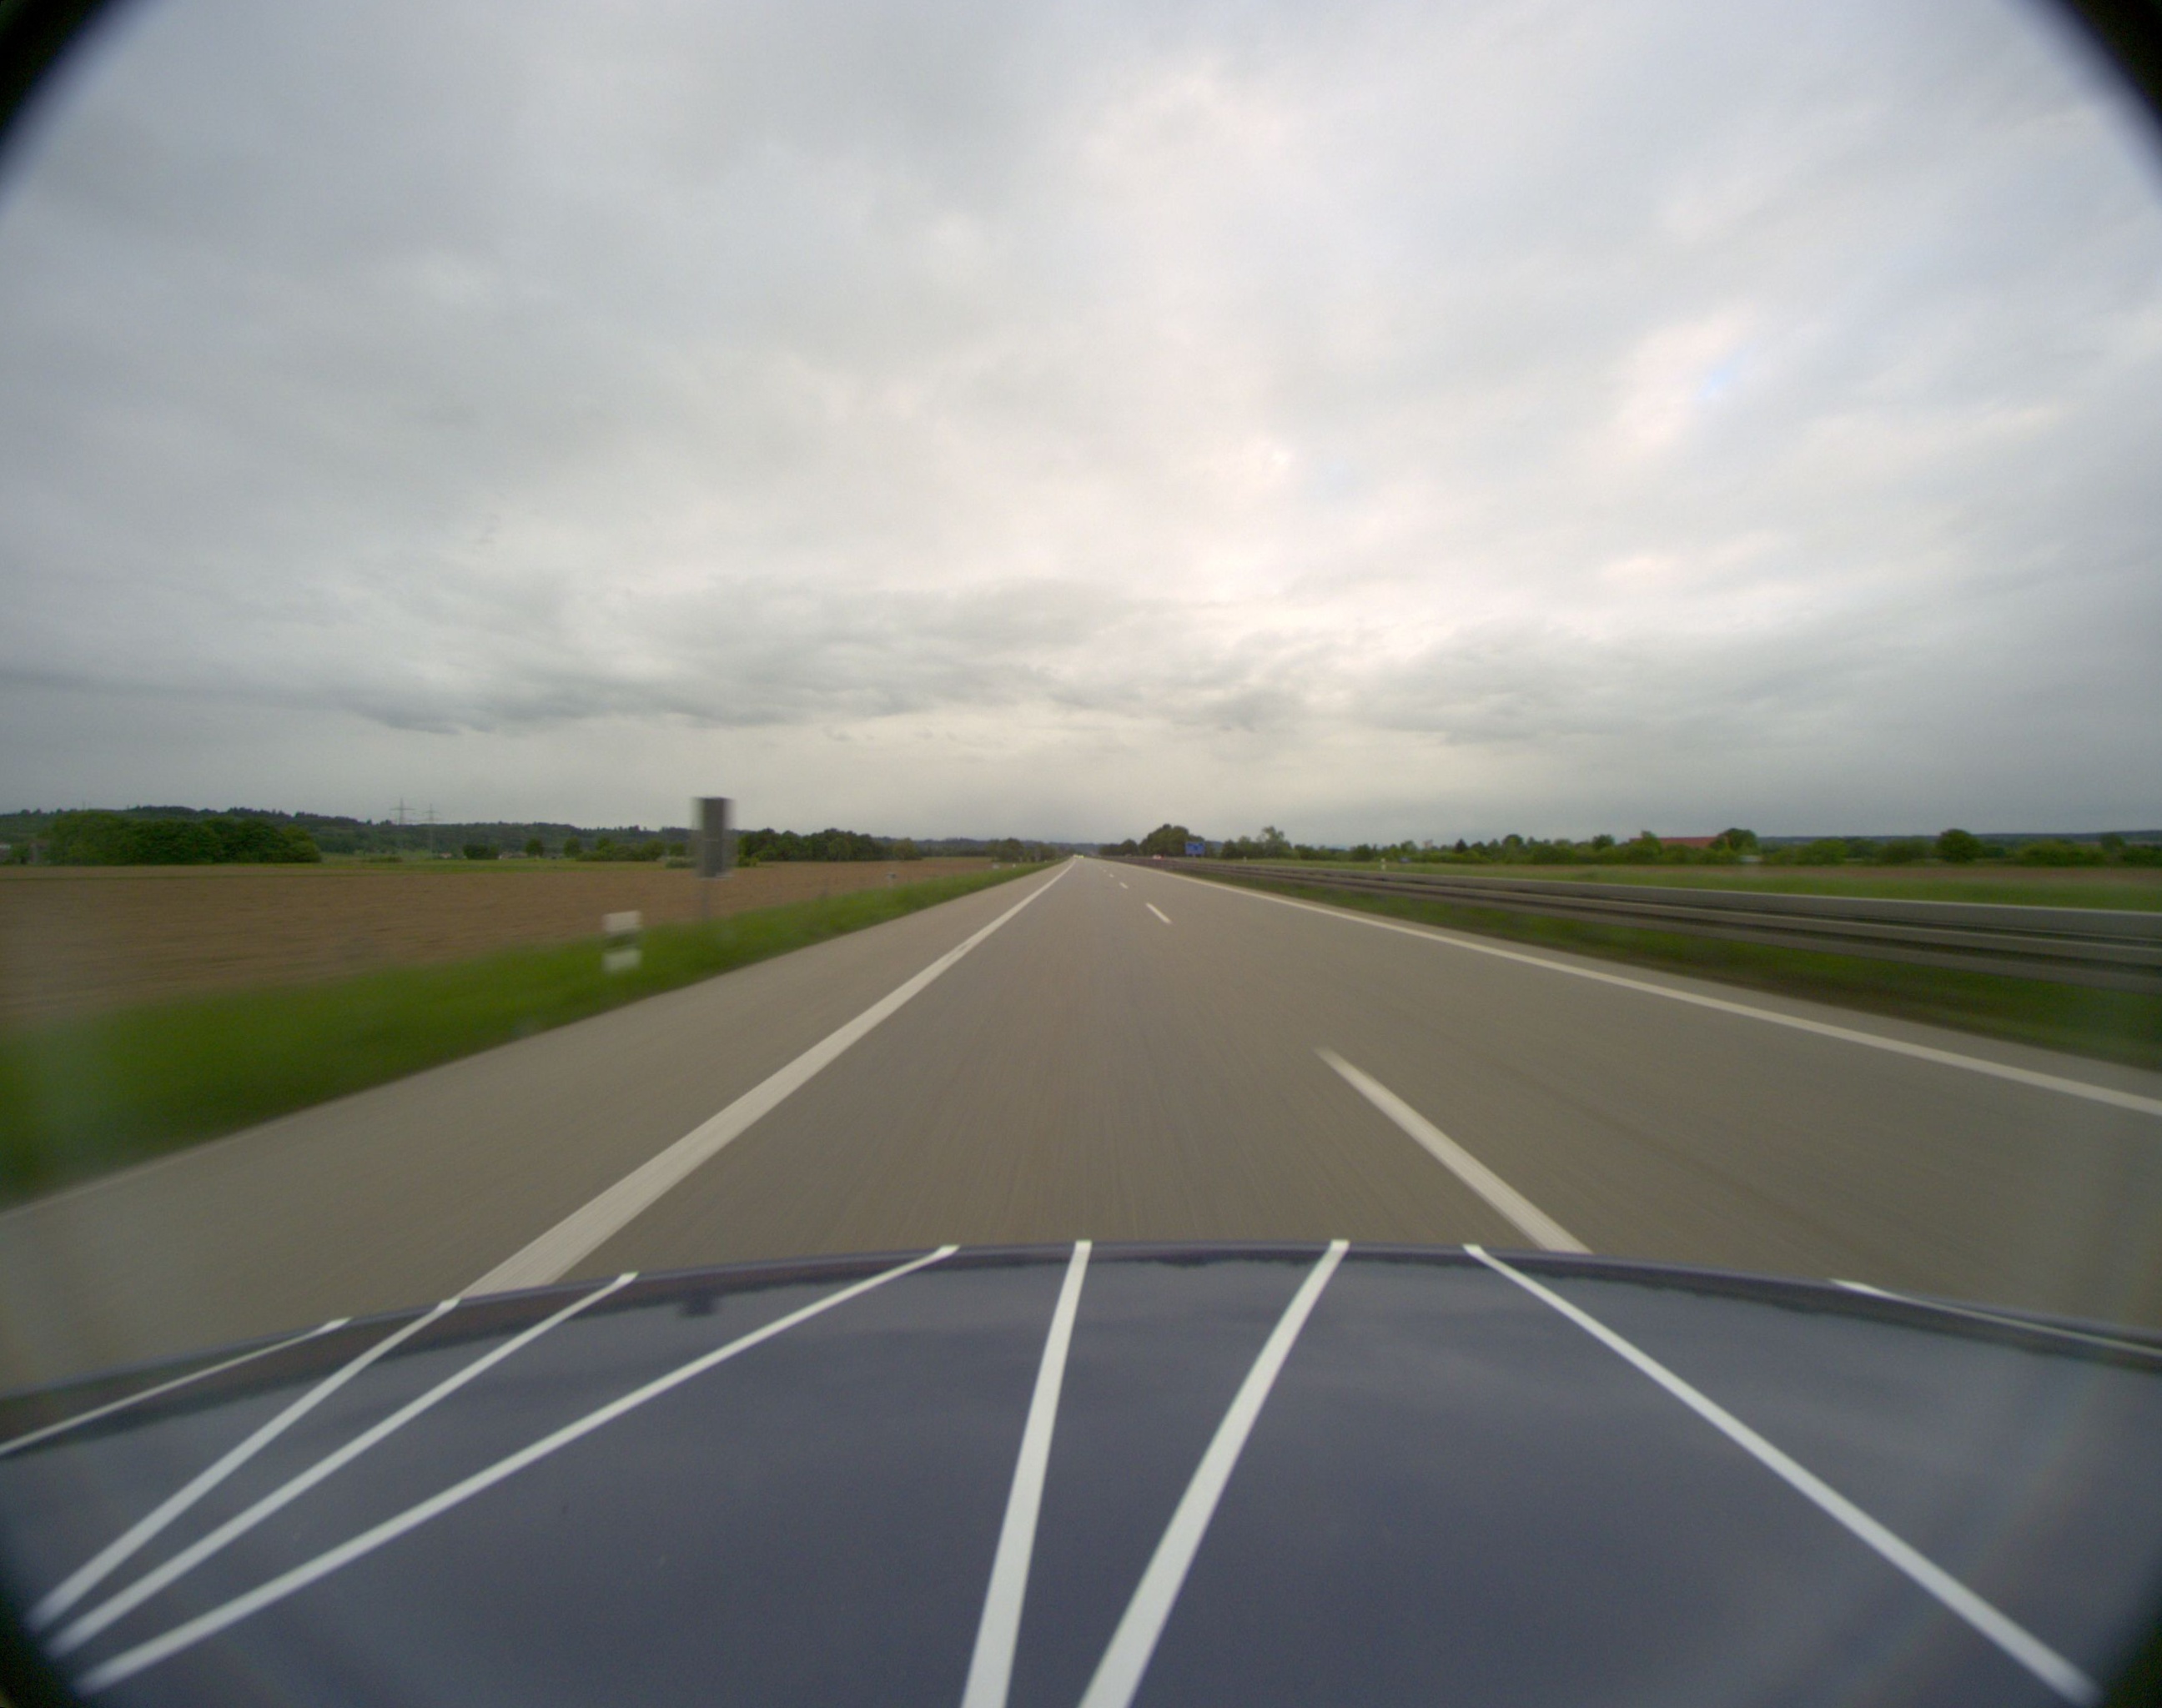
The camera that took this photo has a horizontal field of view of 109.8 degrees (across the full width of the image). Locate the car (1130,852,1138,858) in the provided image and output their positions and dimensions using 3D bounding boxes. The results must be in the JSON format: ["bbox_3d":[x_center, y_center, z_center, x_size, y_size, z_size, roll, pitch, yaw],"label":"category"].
[{"bbox_3d":[14.896,0.187,214.305,1.998,1.691,4.301,-2,0,0],"label":"car"}]

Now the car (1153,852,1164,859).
[{"bbox_3d":[18.621,0.348,182.642,1.999,1.487,4.762,-1,0,-1],"label":"car"}]
